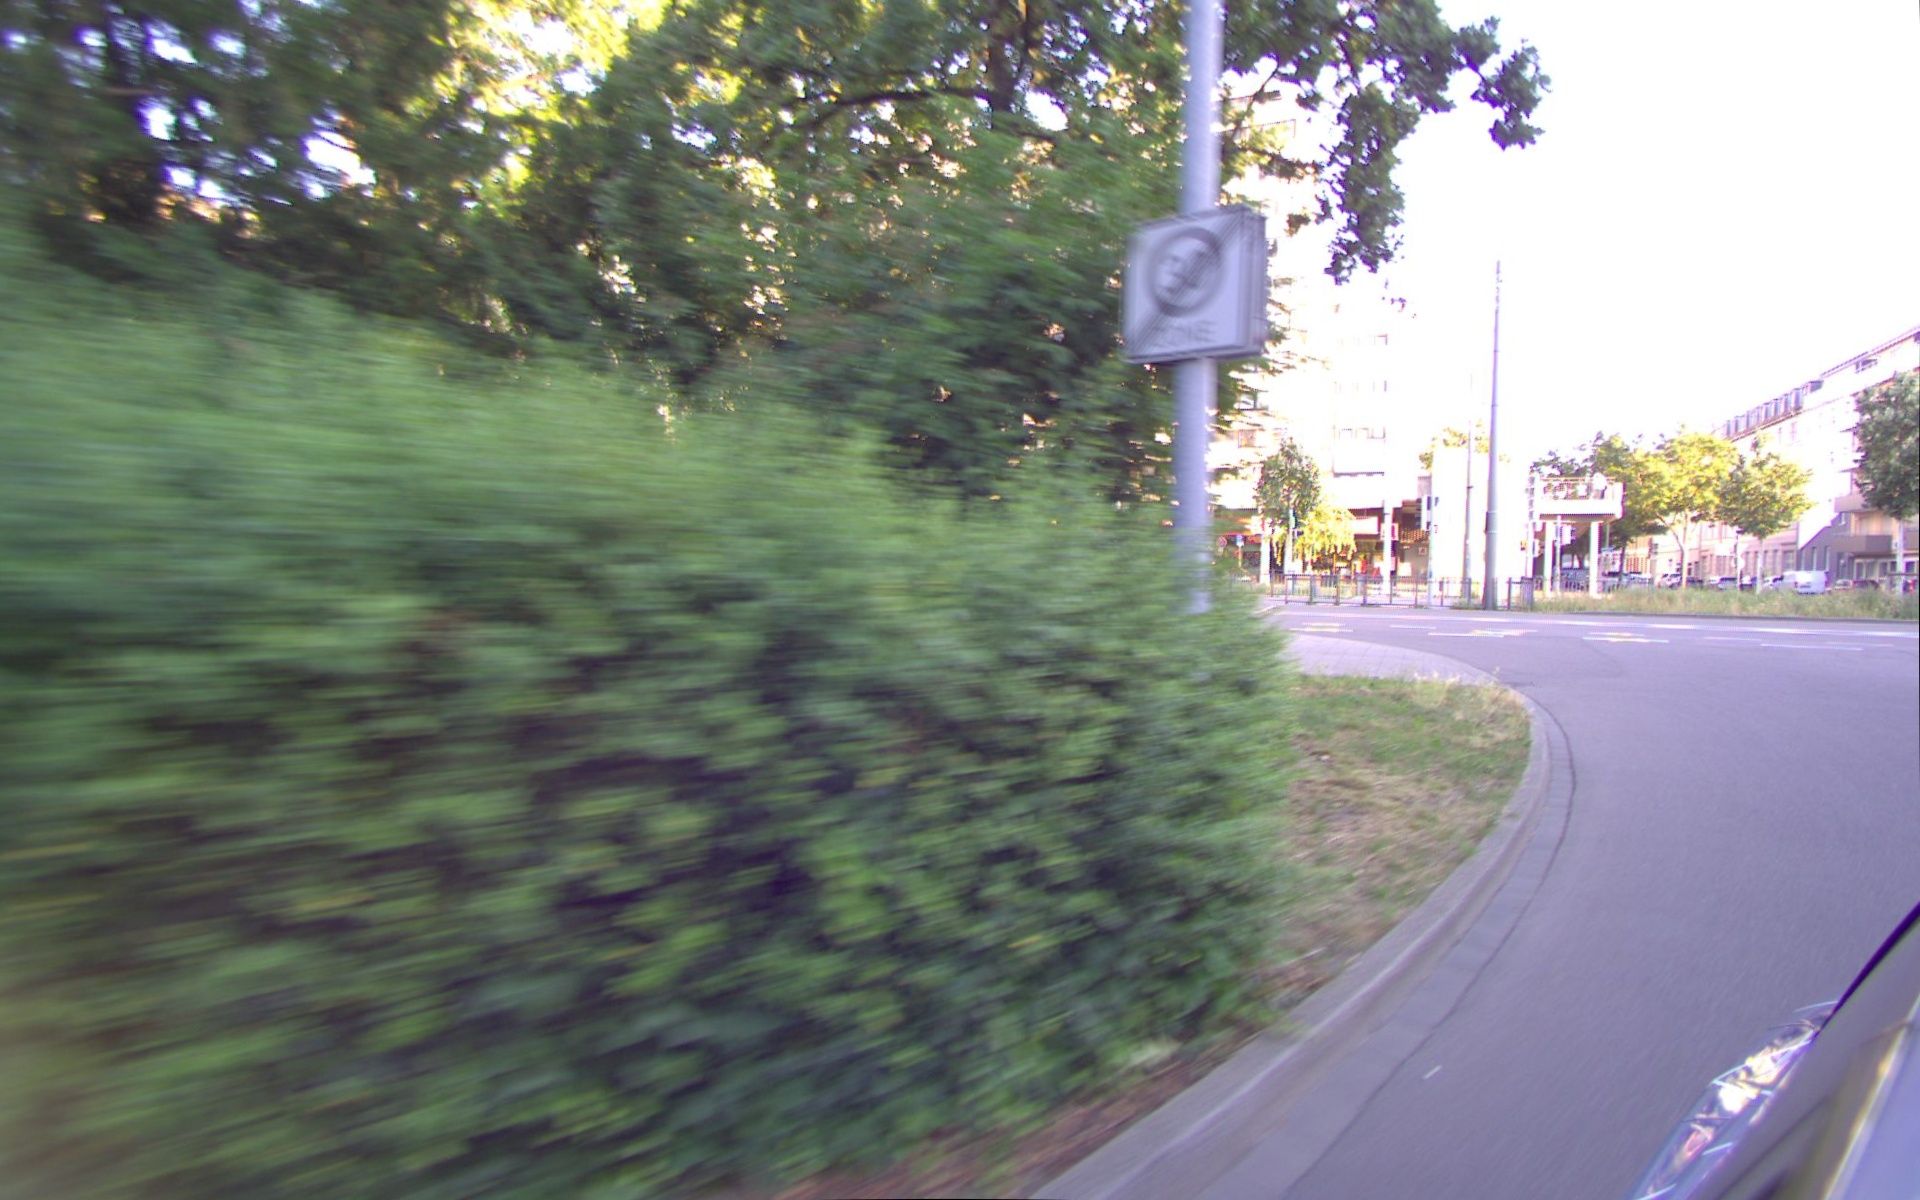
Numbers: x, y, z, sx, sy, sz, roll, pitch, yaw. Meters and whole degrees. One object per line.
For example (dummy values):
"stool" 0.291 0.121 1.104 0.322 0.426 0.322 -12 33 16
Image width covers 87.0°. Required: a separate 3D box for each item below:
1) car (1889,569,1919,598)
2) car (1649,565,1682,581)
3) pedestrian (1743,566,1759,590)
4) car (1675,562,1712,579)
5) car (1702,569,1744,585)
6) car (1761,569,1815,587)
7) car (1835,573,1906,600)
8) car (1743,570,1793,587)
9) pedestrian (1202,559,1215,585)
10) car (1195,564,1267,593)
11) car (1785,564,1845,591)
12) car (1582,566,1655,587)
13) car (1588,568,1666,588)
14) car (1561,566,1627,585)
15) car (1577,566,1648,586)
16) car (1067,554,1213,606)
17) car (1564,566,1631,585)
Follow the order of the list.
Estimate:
"car" 50.997 -0.864 53.176 1.978 1.504 3.969 1 2 24
"car" 72.582 -2.823 104.173 1.978 1.549 3.969 1 2 24
"pedestrian" 69.271 -1.912 88.666 0.882 2.038 0.765 1 2 24
"car" 69.880 -2.818 96.477 1.978 1.549 3.969 1 2 24
"car" 65.495 -1.967 86.905 1.978 1.259 3.969 1 2 24
"car" 60.253 -1.627 73.740 1.978 1.259 3.969 1 2 24
"car" 54.555 -0.816 60.739 1.978 1.504 3.969 1 2 24
"car" 61.967 -1.680 77.700 1.978 1.259 3.969 1 2 24
"pedestrian" 16.000 -1.811 65.137 0.717 1.633 0.652 1 2 20
"car" 15.425 -1.269 57.779 1.920 1.580 4.356 0 2 -17
"car" 57.743 -1.558 68.434 1.978 1.771 3.969 1 2 24
"car" 52.412 -1.892 80.622 4.596 1.579 1.983 1 2 26
"car" 49.934 -1.642 75.905 4.596 1.415 1.983 1 2 26
"car" 55.709 -2.150 89.025 4.596 1.579 1.983 1 2 26
"car" 53.273 -1.982 82.736 4.596 1.579 1.983 1 2 26
"car" 5.265 -0.628 29.804 3.885 1.405 1.778 2 3 36
"car" 54.371 -2.108 86.423 4.596 1.579 1.983 1 2 26
